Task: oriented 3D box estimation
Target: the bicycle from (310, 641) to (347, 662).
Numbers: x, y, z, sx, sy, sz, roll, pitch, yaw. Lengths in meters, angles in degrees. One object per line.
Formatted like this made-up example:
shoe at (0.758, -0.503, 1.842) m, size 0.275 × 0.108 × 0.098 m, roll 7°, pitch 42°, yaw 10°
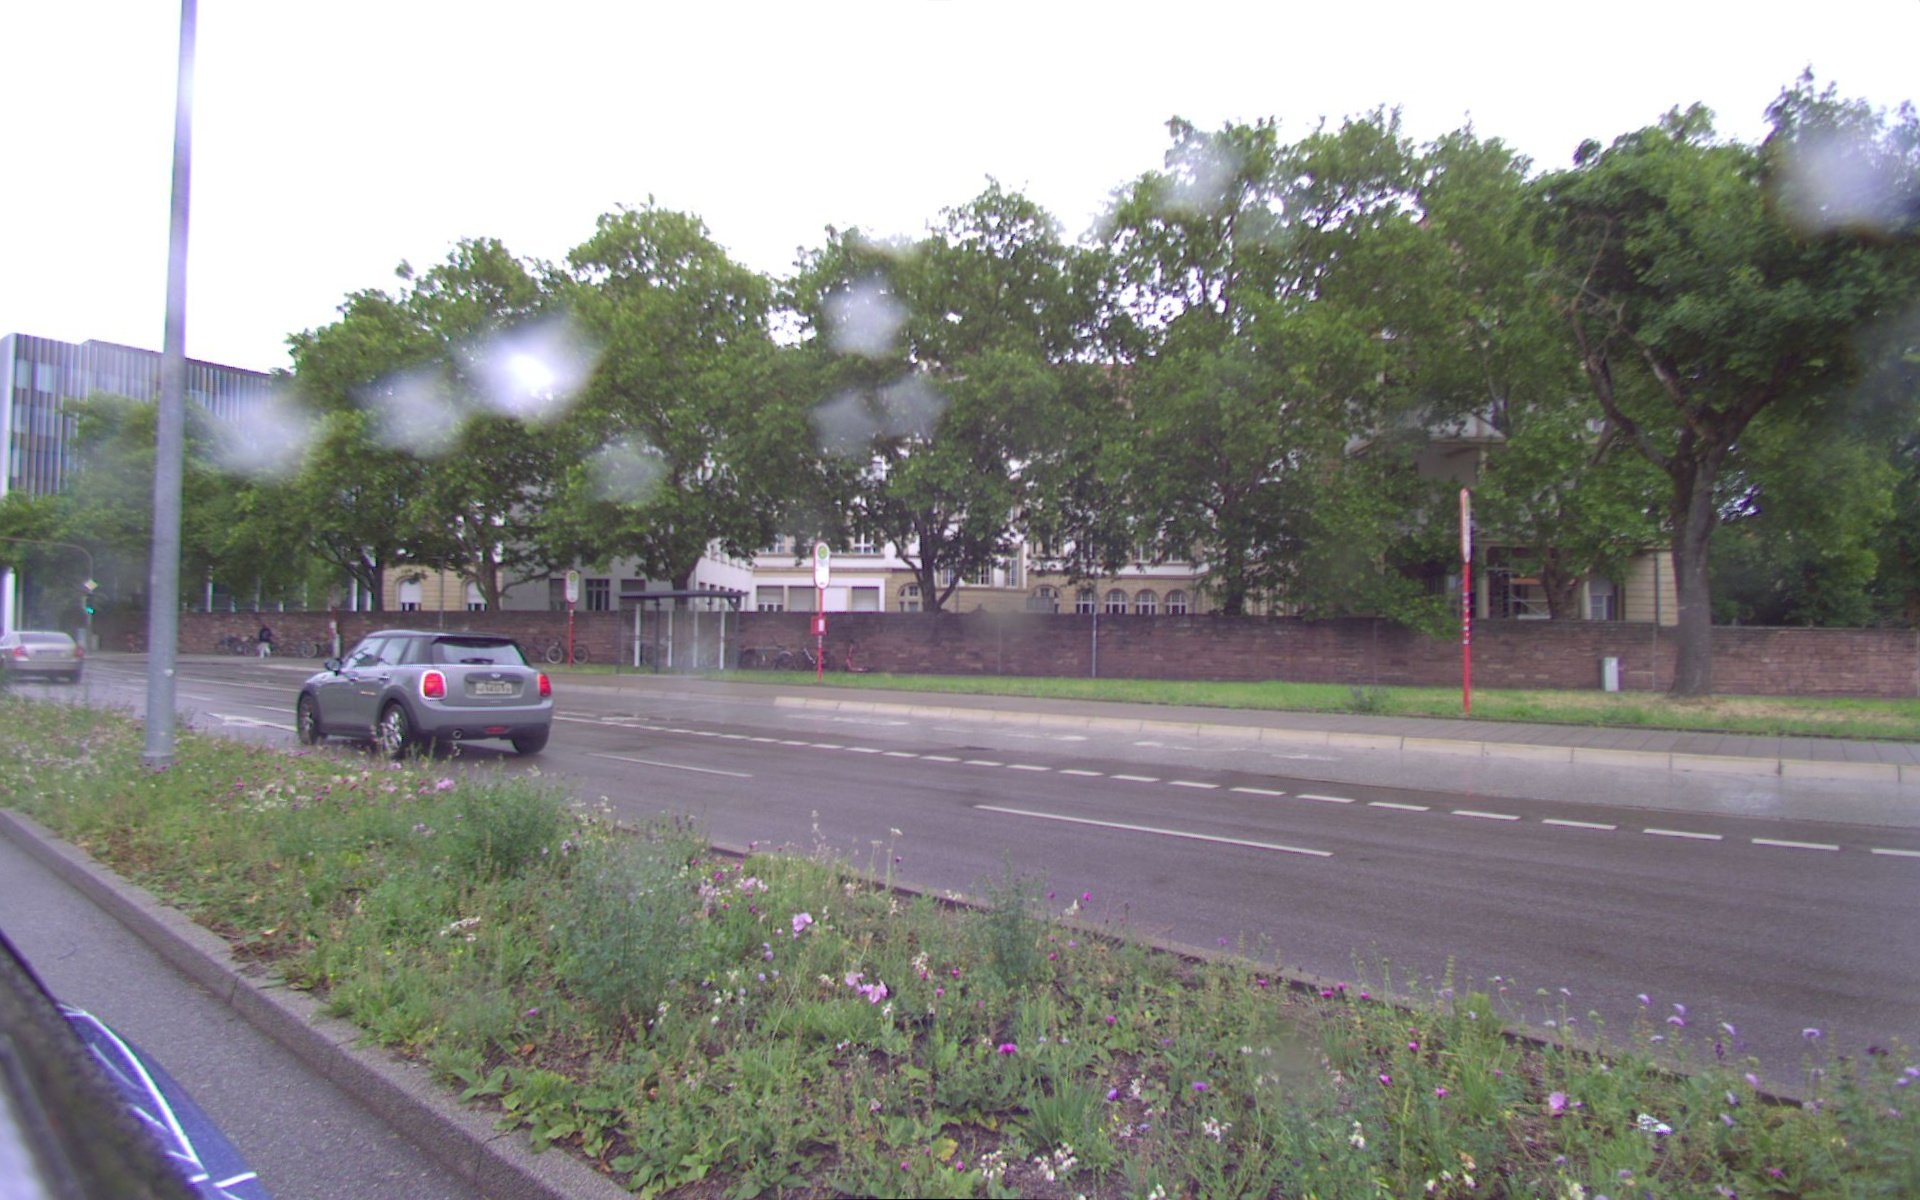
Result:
bicycle at (-30.186, 2.450, 48.366) m, size 1.692 × 0.990 × 0.727 m, roll -1°, pitch -2°, yaw 27°

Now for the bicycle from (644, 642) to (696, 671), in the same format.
bicycle at (-11.437, 2.217, 39.896) m, size 1.975 × 1.144 × 0.571 m, roll -1°, pitch -3°, yaw 18°

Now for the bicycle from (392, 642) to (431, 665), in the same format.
bicycle at (-24.669, 2.383, 45.500) m, size 1.692 × 0.990 × 0.727 m, roll -1°, pitch -2°, yaw 27°

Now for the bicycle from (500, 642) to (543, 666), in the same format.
bicycle at (-18.502, 2.260, 42.684) m, size 1.692 × 0.990 × 0.727 m, roll -1°, pitch -2°, yaw 27°

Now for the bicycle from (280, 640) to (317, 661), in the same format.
bicycle at (-32.169, 2.472, 49.218) m, size 1.692 × 0.990 × 0.727 m, roll -1°, pitch -2°, yaw 27°

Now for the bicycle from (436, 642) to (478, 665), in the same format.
bicycle at (-21.599, 2.286, 43.440) m, size 1.692 × 0.990 × 0.727 m, roll -1°, pitch -2°, yaw 27°

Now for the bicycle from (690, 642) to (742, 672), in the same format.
bicycle at (-9.468, 2.206, 39.299) m, size 1.978 × 1.144 × 0.570 m, roll -1°, pitch -3°, yaw 22°

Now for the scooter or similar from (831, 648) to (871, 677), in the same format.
scooter or similar at (-4.028, 2.302, 37.478) m, size 1.353 × 1.055 × 0.570 m, roll -1°, pitch -3°, yaw 22°

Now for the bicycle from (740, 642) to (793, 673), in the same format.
bicycle at (-7.369, 2.185, 38.456) m, size 1.978 × 1.144 × 0.570 m, roll -1°, pitch -3°, yaw 22°

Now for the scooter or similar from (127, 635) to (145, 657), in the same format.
scooter or similar at (-47.298, 2.633, 58.077) m, size 1.138 × 1.206 × 0.388 m, roll -1°, pitch 4°, yaw 32°

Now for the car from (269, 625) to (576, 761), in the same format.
car at (-6.624, 1.076, 12.318) m, size 4.115 × 1.387 × 1.755 m, roll -2°, pitch -6°, yaw 39°

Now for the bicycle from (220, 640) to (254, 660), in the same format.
bicycle at (-37.166, 2.555, 52.016) m, size 1.692 × 0.990 × 0.727 m, roll -1°, pitch -2°, yaw 27°

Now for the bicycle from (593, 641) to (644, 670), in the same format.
bicycle at (-13.723, 2.230, 40.620) m, size 1.975 × 1.144 × 0.571 m, roll -1°, pitch -3°, yaw 18°

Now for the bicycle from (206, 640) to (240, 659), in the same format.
bicycle at (-38.777, 2.595, 53.236) m, size 1.692 × 0.990 × 0.727 m, roll -1°, pitch -2°, yaw 27°

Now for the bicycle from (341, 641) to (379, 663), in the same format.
bicycle at (-27.830, 2.406, 46.935) m, size 1.692 × 0.990 × 0.727 m, roll -1°, pitch -2°, yaw 27°

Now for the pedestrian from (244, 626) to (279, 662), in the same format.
pedestrian at (-33.813, 2.108, 49.000) m, size 1.395 × 1.708 × 0.862 m, roll -1°, pitch -3°, yaw 32°

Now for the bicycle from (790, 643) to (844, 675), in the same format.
bicycle at (-5.380, 2.204, 37.978) m, size 1.978 × 1.144 × 0.570 m, roll -1°, pitch -3°, yaw 22°

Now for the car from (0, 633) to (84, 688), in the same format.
car at (-26.336, 1.657, 28.601) m, size 4.179 × 1.426 × 1.677 m, roll -1°, pitch -3°, yaw 40°

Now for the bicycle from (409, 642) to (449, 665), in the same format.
bicycle at (-23.511, 2.362, 44.807) m, size 1.692 × 0.990 × 0.727 m, roll -1°, pitch -2°, yaw 27°

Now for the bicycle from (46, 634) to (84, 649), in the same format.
bicycle at (-73.876, 3.405, 83.517) m, size 0.595 × 1.231 × 2.267 m, roll -1°, pitch -3°, yaw 25°

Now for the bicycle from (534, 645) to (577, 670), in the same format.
bicycle at (-16.672, 2.347, 41.697) m, size 1.692 × 0.990 × 0.727 m, roll -1°, pitch -2°, yaw 27°

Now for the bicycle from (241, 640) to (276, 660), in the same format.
bicycle at (-35.575, 2.538, 51.347) m, size 1.692 × 0.990 × 0.727 m, roll -1°, pitch -2°, yaw 27°

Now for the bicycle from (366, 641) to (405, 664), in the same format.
bicycle at (-26.240, 2.387, 46.222) m, size 1.692 × 0.990 × 0.727 m, roll -1°, pitch -2°, yaw 27°

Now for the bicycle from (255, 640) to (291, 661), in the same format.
bicycle at (-33.905, 2.490, 49.946) m, size 1.858 × 0.990 × 0.726 m, roll -1°, pitch -2°, yaw 31°
